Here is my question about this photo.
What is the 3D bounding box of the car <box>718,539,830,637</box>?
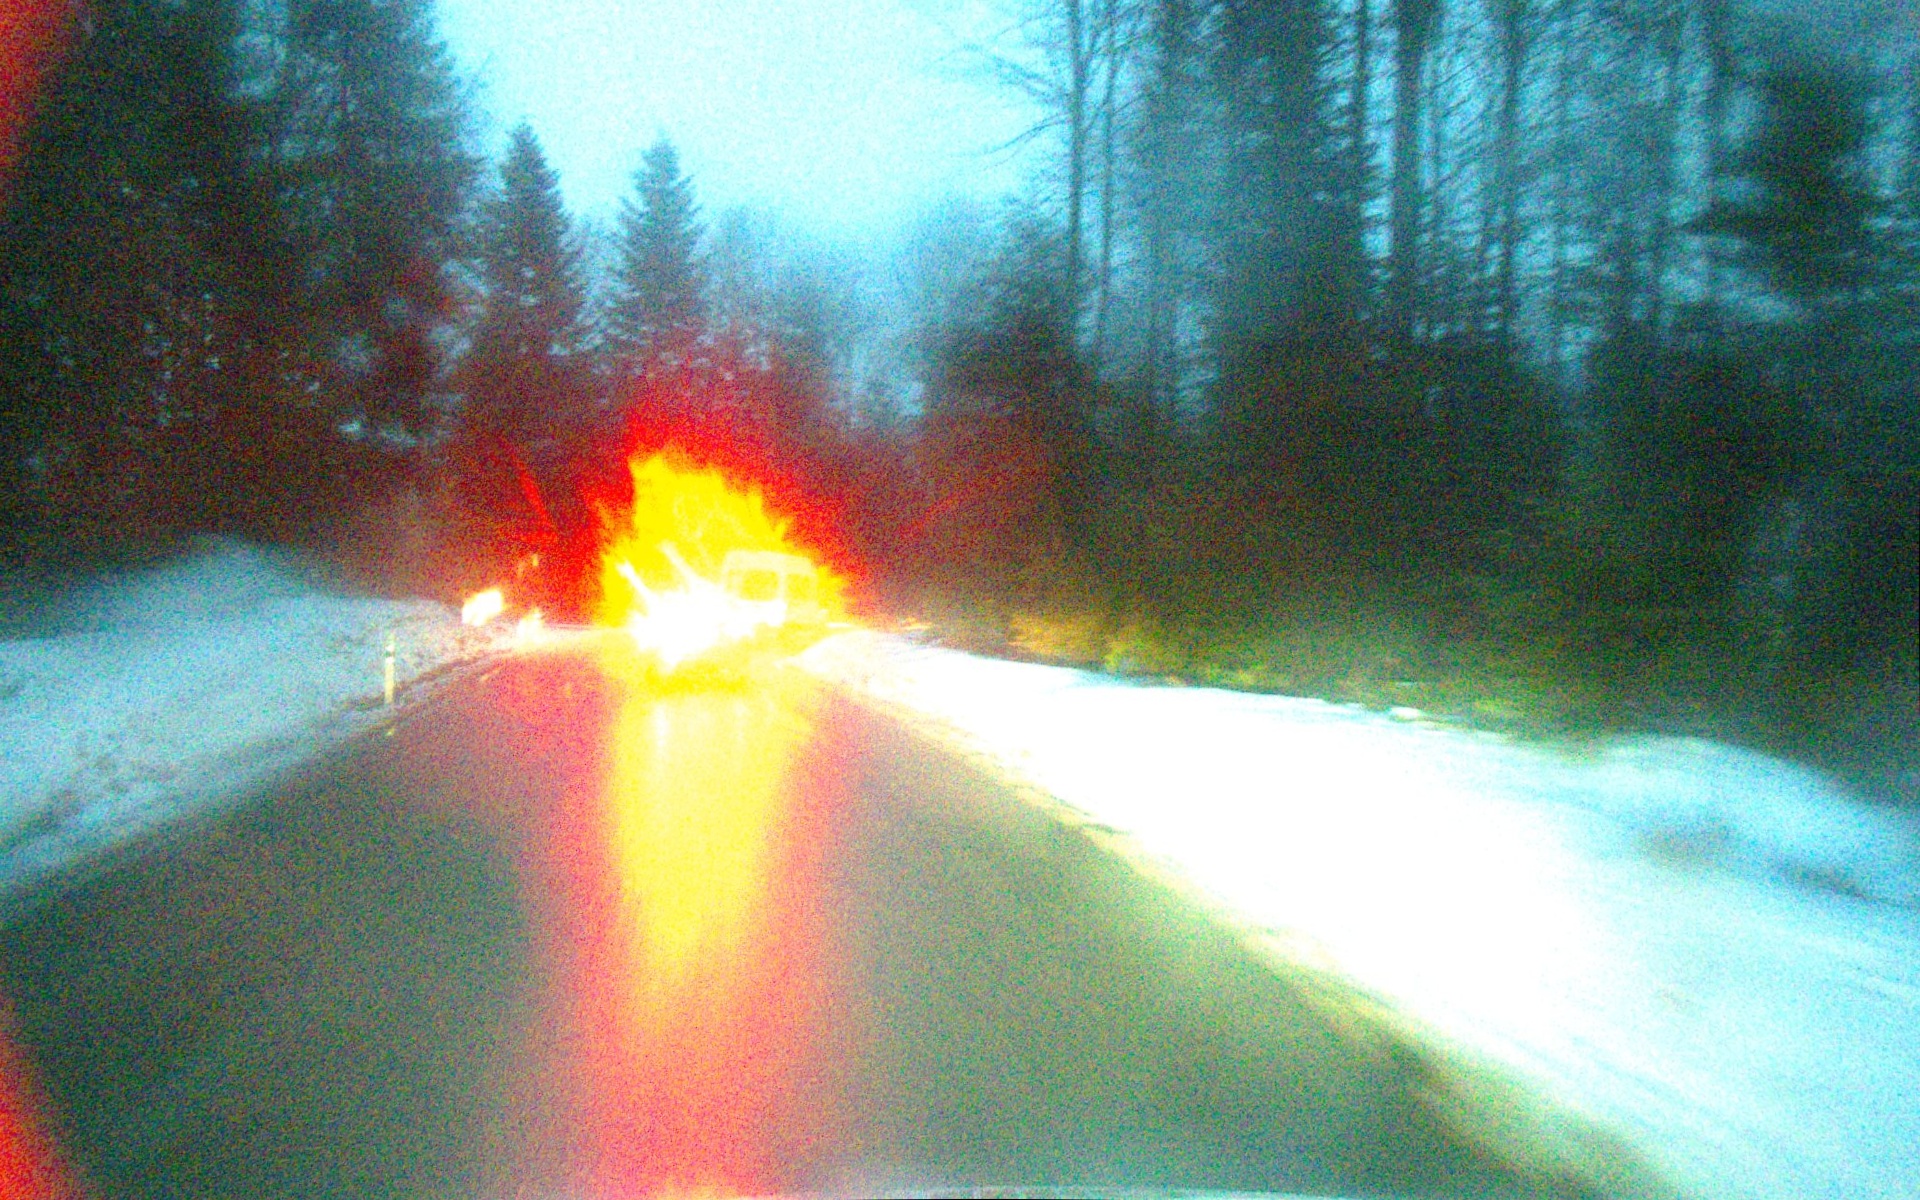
[{"bbox_3d":[-5.390,-0.349,48.633,2.204,2.691,5.009,1,0,6],"label":"car"}]

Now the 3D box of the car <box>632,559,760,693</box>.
[{"bbox_3d":[-4.380,0.409,27.944,1.955,2.088,3.994,-1,0,-7],"label":"car"}]
